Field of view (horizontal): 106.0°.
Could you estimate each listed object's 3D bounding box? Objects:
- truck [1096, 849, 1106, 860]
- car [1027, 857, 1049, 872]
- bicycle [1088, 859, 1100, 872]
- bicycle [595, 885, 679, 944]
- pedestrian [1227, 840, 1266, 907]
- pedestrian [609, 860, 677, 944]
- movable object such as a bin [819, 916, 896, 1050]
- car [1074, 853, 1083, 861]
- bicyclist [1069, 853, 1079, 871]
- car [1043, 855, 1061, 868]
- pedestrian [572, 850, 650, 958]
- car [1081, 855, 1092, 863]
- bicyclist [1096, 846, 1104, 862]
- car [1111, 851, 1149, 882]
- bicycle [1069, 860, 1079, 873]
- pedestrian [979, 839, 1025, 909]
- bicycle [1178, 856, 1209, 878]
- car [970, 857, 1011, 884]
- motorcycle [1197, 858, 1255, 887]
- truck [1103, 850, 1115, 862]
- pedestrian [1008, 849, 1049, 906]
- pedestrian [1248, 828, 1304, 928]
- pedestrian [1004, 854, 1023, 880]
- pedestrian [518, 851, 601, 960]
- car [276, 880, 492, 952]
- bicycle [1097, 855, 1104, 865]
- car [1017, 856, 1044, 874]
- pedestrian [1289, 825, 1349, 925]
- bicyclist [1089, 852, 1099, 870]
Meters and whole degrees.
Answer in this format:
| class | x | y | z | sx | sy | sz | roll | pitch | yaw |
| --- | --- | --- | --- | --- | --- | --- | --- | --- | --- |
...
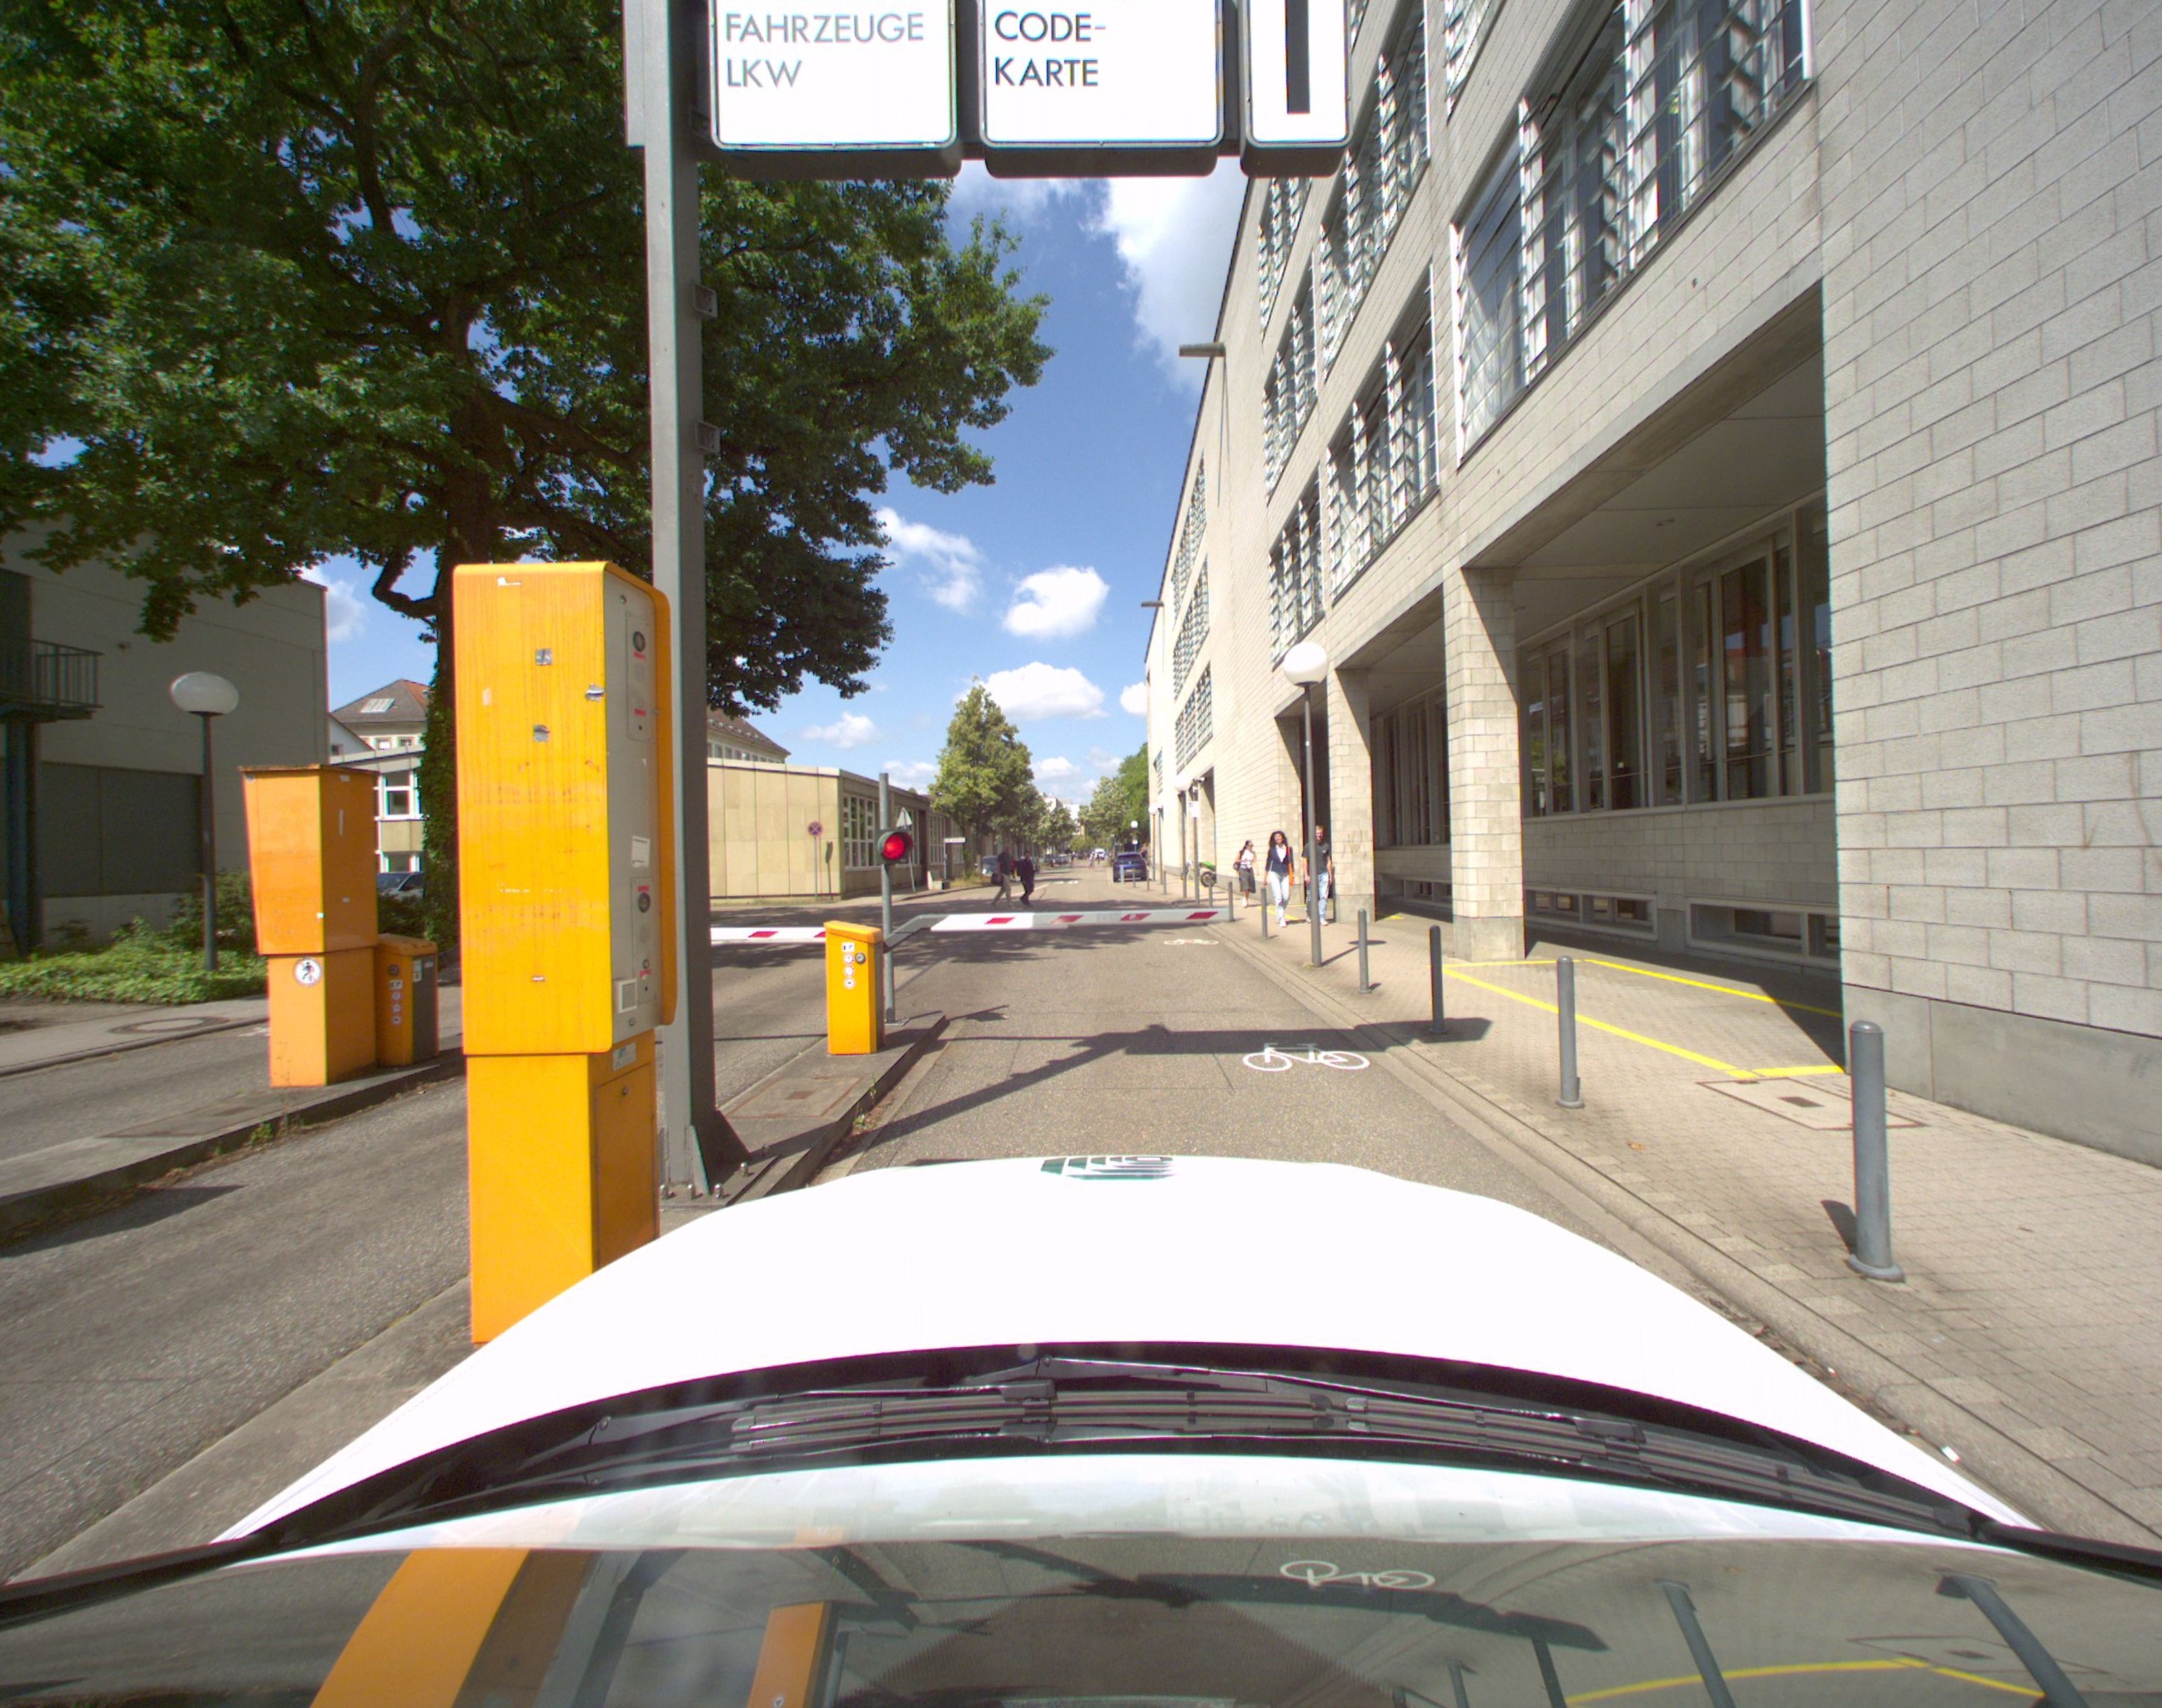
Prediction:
| class | x | y | z | sx | sy | sz | roll | pitch | yaw |
| --- | --- | --- | --- | --- | --- | --- | --- | --- | --- |
| truck | 4.491 | 0.211 | 180.092 | 1.987 | 2.271 | 4.614 | -2 | -2 | 0 |
| car | -4.714 | 1.088 | 89.906 | 1.986 | 1.545 | 4.213 | -2 | 0 | 2 |
| bicycle | 1.388 | 1.295 | 87.681 | 0.985 | 1.316 | 2.960 | -2 | -2 | -3 |
| bicycle | -9.162 | 1.213 | 16.888 | 0.643 | 1.049 | 1.900 | -2 | 0 | 0 |
| pedestrian | 4.204 | 0.486 | 20.748 | 0.738 | 1.632 | 0.887 | -3 | 0 | 0 |
| pedestrian | -8.659 | 0.933 | 16.139 | 0.852 | 1.586 | 0.805 | -2 | 0 | 0 |
| movable object such as a bin | -1.599 | 0.912 | 5.846 | 0.413 | 0.905 | 0.353 | -1 | 0 | 5 |
| car | -0.632 | 0.727 | 206.757 | 1.985 | 1.720 | 4.004 | -2 | -2 | 4 |
| bicyclist | -0.779 | 0.877 | 87.992 | 0.983 | 1.884 | 1.037 | -2 | -2 | 2 |
| car | -3.591 | 0.925 | 102.290 | 1.986 | 1.545 | 4.213 | -2 | 0 | 2 |
| pedestrian | -8.201 | 0.839 | 14.253 | 0.703 | 1.809 | 1.001 | -2 | 0 | 0 |
| car | 1.270 | 1.106 | 175.747 | 1.985 | 1.720 | 4.004 | -2 | -2 | 4 |
| bicyclist | 2.597 | -0.026 | 111.220 | 0.984 | 2.132 | 1.036 | -2 | -2 | 1 |
| car | 2.647 | 0.643 | 44.785 | 1.986 | 1.545 | 4.214 | -1 | 0 | 2 |
| bicycle | -0.771 | 1.349 | 87.867 | 0.984 | 1.316 | 2.963 | -2 | -2 | 0 |
| pedestrian | -2.248 | 0.546 | 23.110 | 1.008 | 1.925 | 0.879 | -1 | -1 | -28 |
| bicycle | 5.778 | 0.681 | 41.722 | 1.535 | 1.066 | 0.649 | -2 | 0 | 9 |
| car | -5.725 | 1.021 | 52.110 | 1.986 | 1.545 | 4.213 | -2 | 0 | 2 |
| motorcycle | 5.686 | 0.733 | 32.068 | 2.114 | 1.023 | 0.660 | -4 | -2 | 2 |
| truck | 5.139 | 0.305 | 149.559 | 1.987 | 2.014 | 3.999 | -2 | -2 | 0 |
| pedestrian | -1.538 | 0.676 | 23.896 | 0.899 | 1.632 | 0.879 | -1 | -1 | -28 |
| pedestrian | 3.658 | 0.427 | 15.351 | 0.692 | 1.780 | 1.085 | -3 | 0 | 0 |
| pedestrian | -4.238 | 0.807 | 50.925 | 0.887 | 1.632 | 0.891 | -1 | -1 | 16 |
| pedestrian | -9.203 | 0.878 | 14.410 | 1.061 | 1.815 | 0.800 | -2 | 0 | -24 |
| car | -17.760 | 1.504 | 21.081 | 1.823 | 1.466 | 4.299 | -2 | 0 | 0 |
| bicycle | 2.642 | 0.834 | 111.121 | 0.984 | 1.316 | 2.964 | -2 | -2 | 1 |
| car | -4.547 | 0.944 | 74.155 | 1.986 | 1.545 | 4.213 | -2 | 0 | 2 |
| pedestrian | 4.445 | 0.371 | 15.288 | 0.764 | 1.780 | 0.910 | -3 | 0 | 0 |
| bicyclist | 1.368 | 0.798 | 87.864 | 0.985 | 1.884 | 1.035 | -2 | -2 | -4 |
